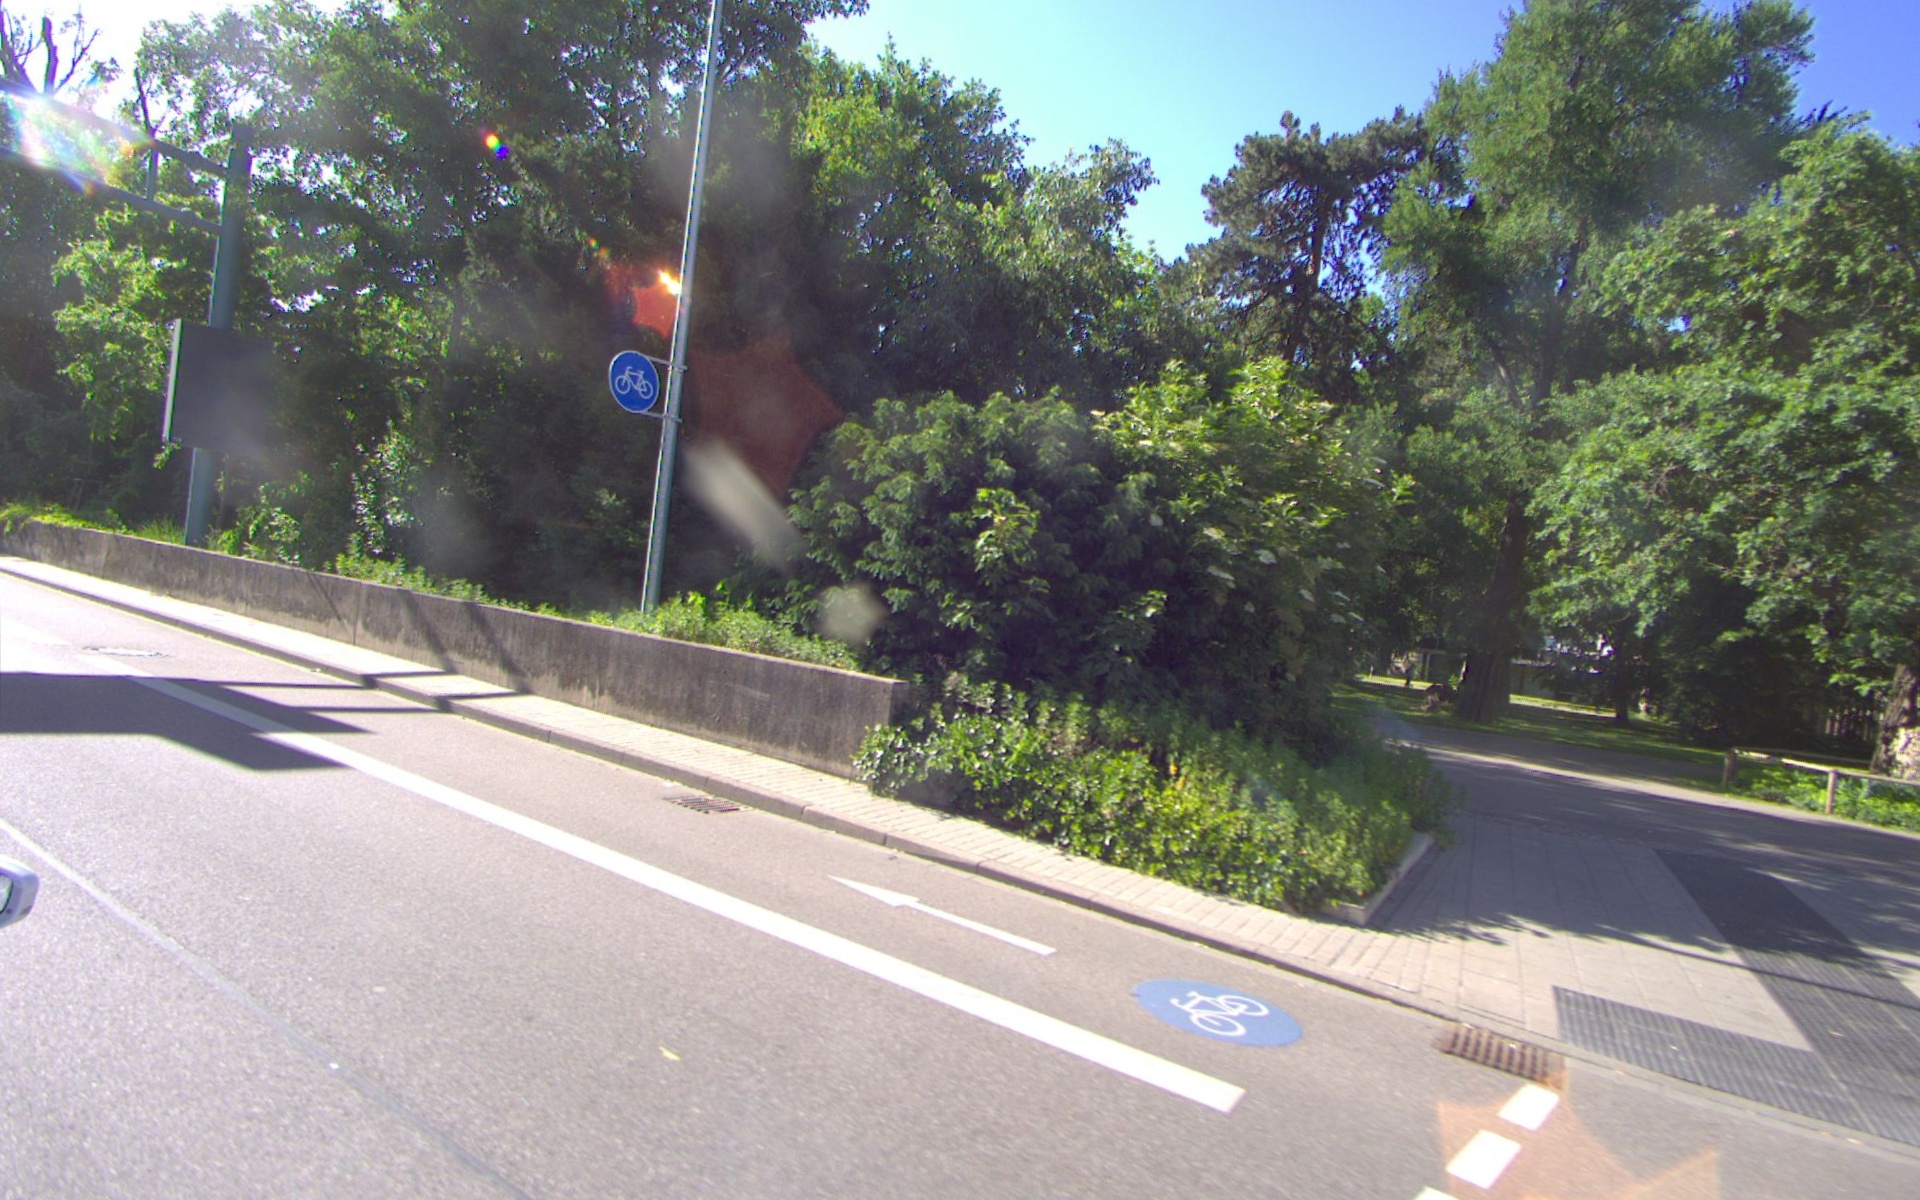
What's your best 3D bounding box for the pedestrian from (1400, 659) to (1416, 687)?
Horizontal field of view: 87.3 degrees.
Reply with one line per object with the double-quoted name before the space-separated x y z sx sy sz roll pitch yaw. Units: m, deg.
"pedestrian" 34.172 5.560 76.729 0.567 2.038 0.611 8 0 -21
